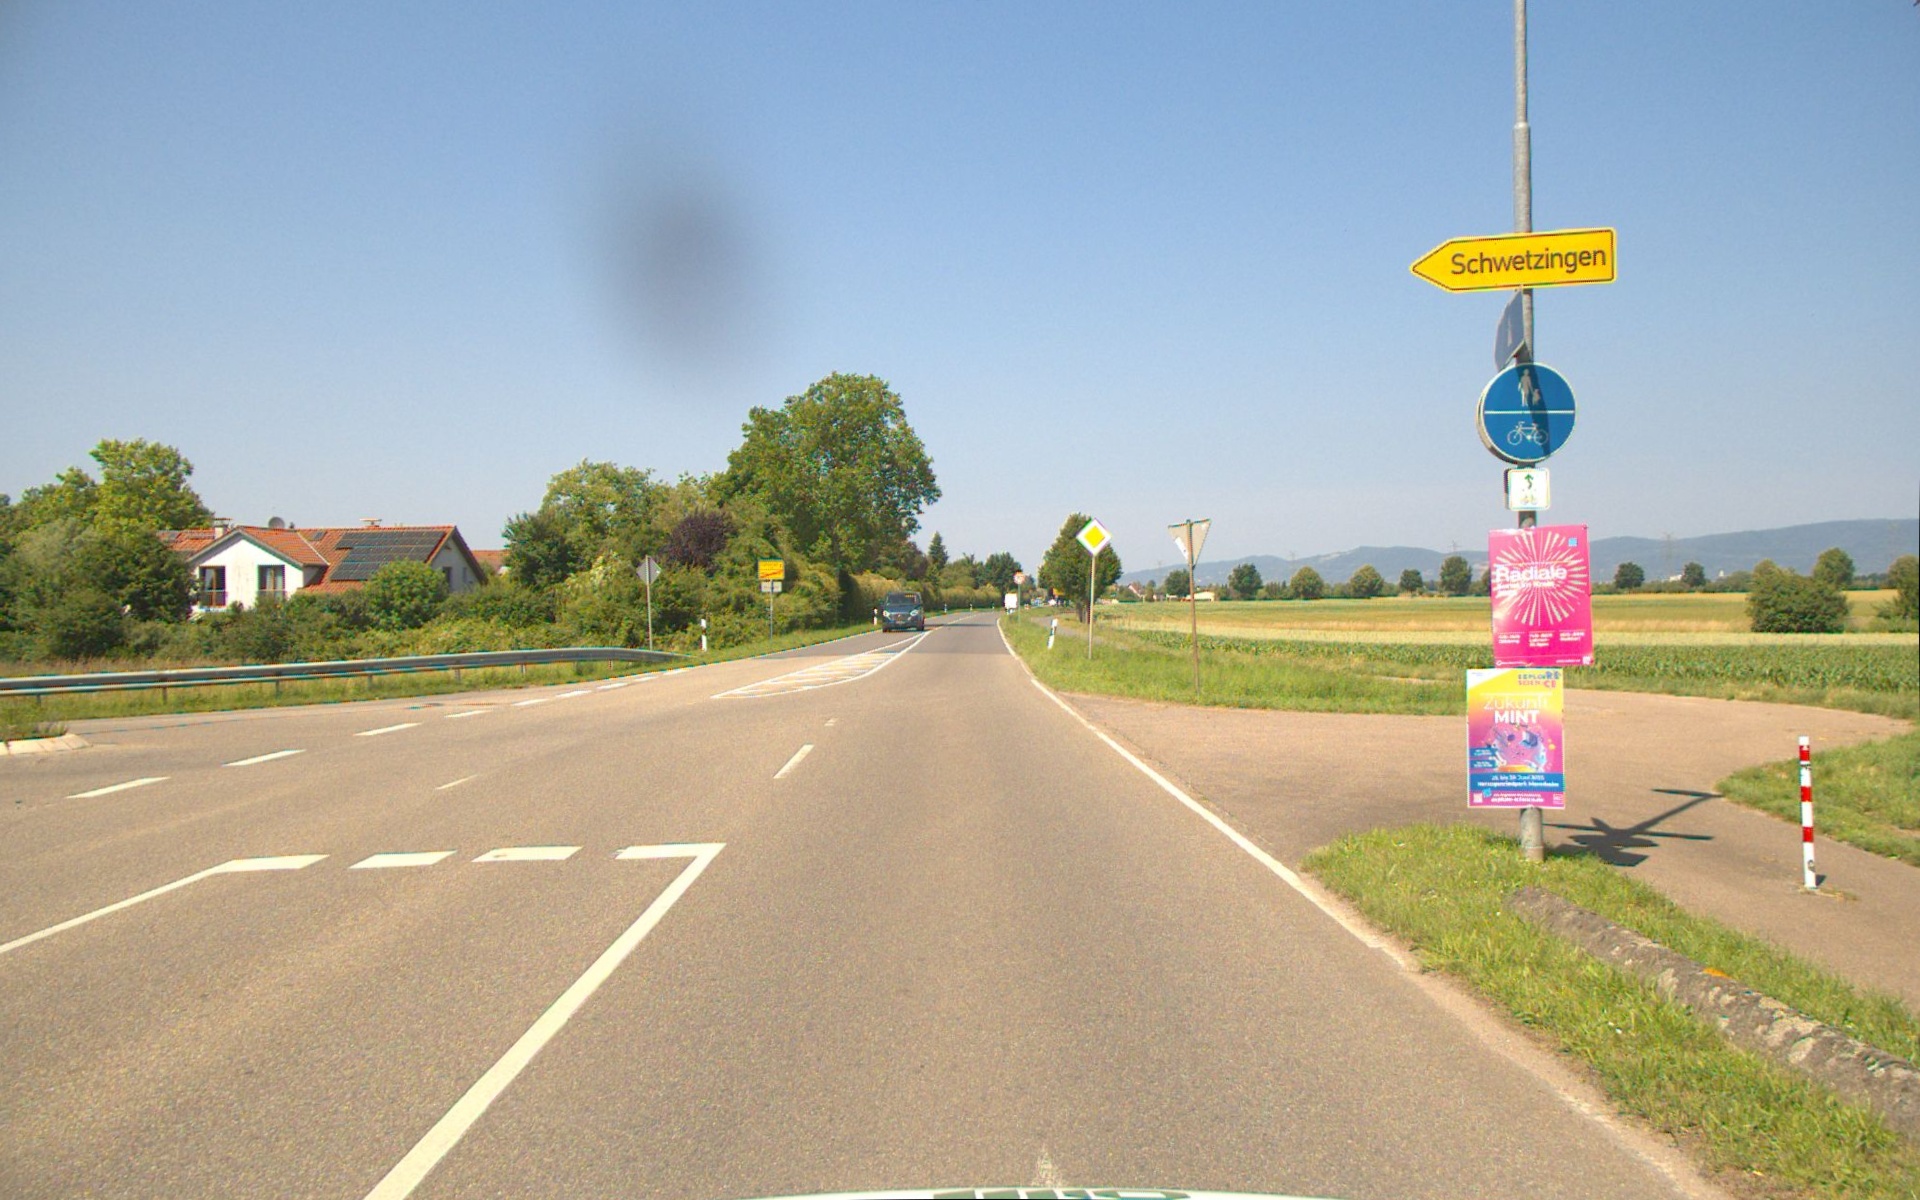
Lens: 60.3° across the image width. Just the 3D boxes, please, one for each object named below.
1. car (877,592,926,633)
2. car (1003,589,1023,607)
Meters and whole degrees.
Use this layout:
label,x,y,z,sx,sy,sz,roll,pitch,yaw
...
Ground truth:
label,x,y,z,sx,sy,sz,roll,pitch,yaw
car,-2.961,0.607,84.789,2.100,1.985,5.248,-1,0,2
car,8.063,-0.286,251.810,1.951,2.697,4.003,-1,0,16
